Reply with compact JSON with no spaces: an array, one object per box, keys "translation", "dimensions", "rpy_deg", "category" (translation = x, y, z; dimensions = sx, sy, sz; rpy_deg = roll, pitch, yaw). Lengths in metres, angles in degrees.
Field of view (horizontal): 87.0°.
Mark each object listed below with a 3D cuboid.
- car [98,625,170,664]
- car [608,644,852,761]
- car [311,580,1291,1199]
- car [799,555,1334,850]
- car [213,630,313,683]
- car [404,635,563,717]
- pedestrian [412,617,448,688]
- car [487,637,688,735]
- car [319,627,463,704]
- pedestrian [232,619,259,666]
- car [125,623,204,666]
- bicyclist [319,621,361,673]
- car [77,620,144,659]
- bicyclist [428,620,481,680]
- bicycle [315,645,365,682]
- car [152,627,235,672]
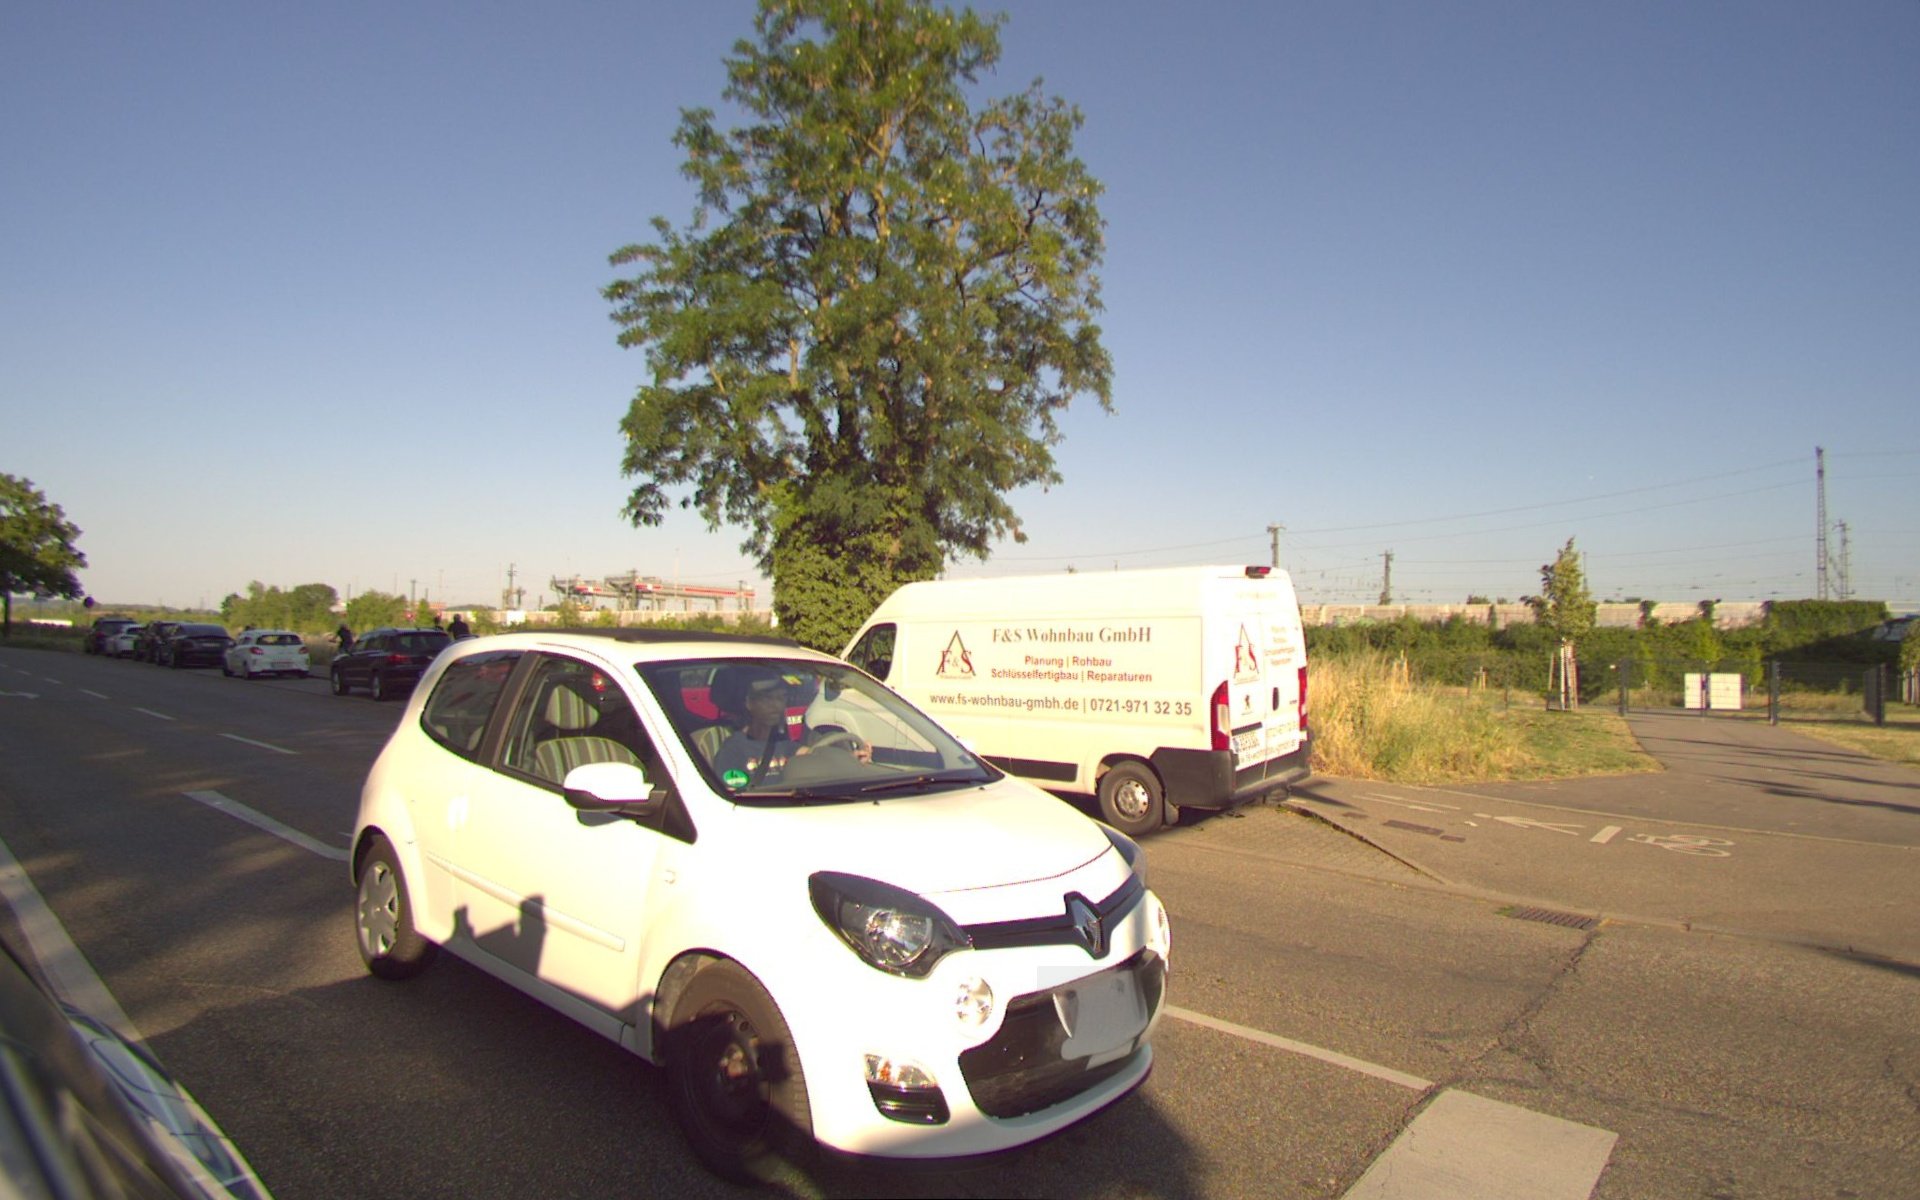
[{"translation":[-36.475,1.945,44.661],"dimensions":[4.219,1.586,1.799],"rpy_deg":[-1,-4,43],"category":"car"},{"translation":[-3.554,1.471,15.398],"dimensions":[3.692,1.498,1.723],"rpy_deg":[-1,-4,40],"category":"car"},{"translation":[-0.874,0.771,3.944],"dimensions":[3.772,1.480,1.683],"rpy_deg":[-1,-4,40],"category":"car"},{"translation":[0.923,0.892,11.084],"dimensions":[5.556,2.455,2.207],"rpy_deg":[-1,-1,40],"category":"car"},{"translation":[-21.564,1.726,31.293],"dimensions":[3.582,1.538,1.684],"rpy_deg":[-1,-4,42],"category":"car"},{"translation":[-10.020,1.543,21.199],"dimensions":[3.577,1.541,1.642],"rpy_deg":[-1,-4,40],"category":"car"},{"translation":[-15.467,1.525,29.530],"dimensions":[0.729,2.029,0.608],"rpy_deg":[-1,-4,39],"category":"pedestrian"},{"translation":[-6.804,1.491,18.319],"dimensions":[3.814,1.541,1.723],"rpy_deg":[-1,-4,40],"category":"car"},{"translation":[-13.602,1.521,24.117],"dimensions":[4.003,1.672,1.642],"rpy_deg":[-1,-4,40],"category":"car"},{"translation":[-31.174,1.840,44.156],"dimensions":[0.710,2.029,0.697],"rpy_deg":[-1,-4,42],"category":"pedestrian"},{"translation":[-32.388,1.806,41.151],"dimensions":[4.219,1.650,1.799],"rpy_deg":[-1,-4,43],"category":"car"},{"translation":[-19.507,1.471,31.827],"dimensions":[1.146,1.609,0.758],"rpy_deg":[-1,-4,43],"category":"bicyclist"},{"translation":[-40.846,1.888,48.609],"dimensions":[4.219,1.789,1.866],"rpy_deg":[-1,-4,43],"category":"car"},{"translation":[-13.854,1.376,27.743],"dimensions":[1.145,1.609,0.855],"rpy_deg":[-1,-4,41],"category":"bicyclist"},{"translation":[-19.535,1.980,31.866],"dimensions":[2.163,1.098,0.738],"rpy_deg":[-1,-4,43],"category":"bicycle"},{"translation":[-28.239,1.809,37.229],"dimensions":[1.798,1.538,4.292],"rpy_deg":[5,-4,-45],"category":"car"}]
